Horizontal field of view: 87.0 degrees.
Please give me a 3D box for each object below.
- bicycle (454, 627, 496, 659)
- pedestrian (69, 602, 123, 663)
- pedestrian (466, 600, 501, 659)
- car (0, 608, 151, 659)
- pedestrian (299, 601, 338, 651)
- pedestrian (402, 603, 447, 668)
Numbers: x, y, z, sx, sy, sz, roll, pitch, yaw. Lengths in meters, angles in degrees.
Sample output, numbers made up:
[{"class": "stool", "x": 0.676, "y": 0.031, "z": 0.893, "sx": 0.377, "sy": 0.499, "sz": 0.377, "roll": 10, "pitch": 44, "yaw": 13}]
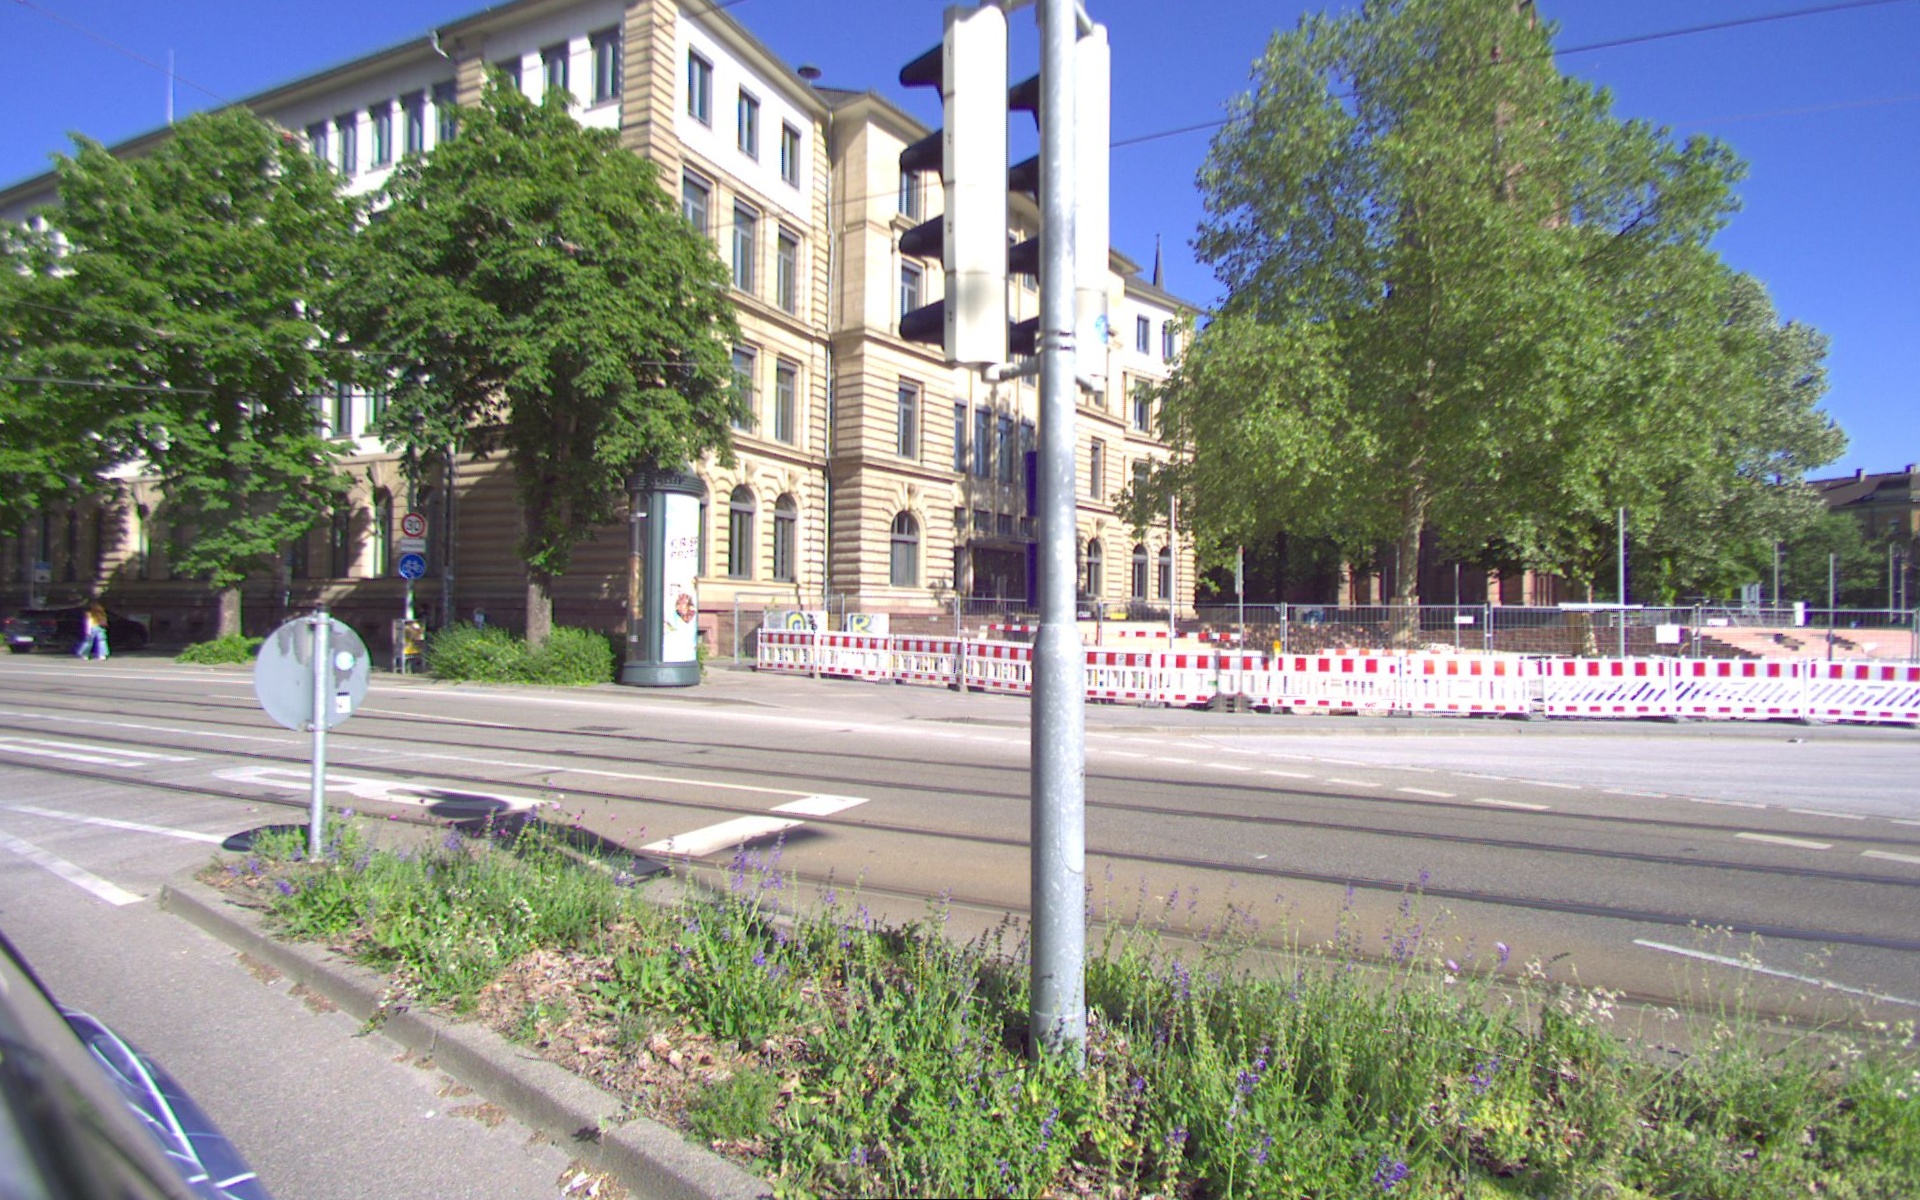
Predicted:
[{"class": "bicycle", "x": -14.423, "y": 1.267, "z": 30.108, "sx": 1.355, "sy": 0.910, "sz": 0.394, "roll": 1, "pitch": 0, "yaw": 28}, {"class": "pedestrian", "x": -25.027, "y": 0.962, "z": 29.322, "sx": 1.027, "sy": 1.682, "sz": 0.766, "roll": -4, "pitch": -5, "yaw": 22}, {"class": "pedestrian", "x": -12.966, "y": 0.793, "z": 27.543, "sx": 0.650, "sy": 1.574, "sz": 0.574, "roll": 0, "pitch": -2, "yaw": 26}, {"class": "car", "x": -29.177, "y": 1.073, "z": 33.311, "sx": 1.893, "sy": 1.586, "sz": 4.111, "roll": 1, "pitch": -1, "yaw": -1}, {"class": "pedestrian", "x": -21.064, "y": 0.847, "z": 33.248, "sx": 0.853, "sy": 1.578, "sz": 0.668, "roll": 0, "pitch": 3, "yaw": 22}, {"class": "pedestrian", "x": -14.298, "y": 0.941, "z": 27.018, "sx": 0.845, "sy": 1.682, "sz": 0.721, "roll": 2, "pitch": 0, "yaw": 37}]
